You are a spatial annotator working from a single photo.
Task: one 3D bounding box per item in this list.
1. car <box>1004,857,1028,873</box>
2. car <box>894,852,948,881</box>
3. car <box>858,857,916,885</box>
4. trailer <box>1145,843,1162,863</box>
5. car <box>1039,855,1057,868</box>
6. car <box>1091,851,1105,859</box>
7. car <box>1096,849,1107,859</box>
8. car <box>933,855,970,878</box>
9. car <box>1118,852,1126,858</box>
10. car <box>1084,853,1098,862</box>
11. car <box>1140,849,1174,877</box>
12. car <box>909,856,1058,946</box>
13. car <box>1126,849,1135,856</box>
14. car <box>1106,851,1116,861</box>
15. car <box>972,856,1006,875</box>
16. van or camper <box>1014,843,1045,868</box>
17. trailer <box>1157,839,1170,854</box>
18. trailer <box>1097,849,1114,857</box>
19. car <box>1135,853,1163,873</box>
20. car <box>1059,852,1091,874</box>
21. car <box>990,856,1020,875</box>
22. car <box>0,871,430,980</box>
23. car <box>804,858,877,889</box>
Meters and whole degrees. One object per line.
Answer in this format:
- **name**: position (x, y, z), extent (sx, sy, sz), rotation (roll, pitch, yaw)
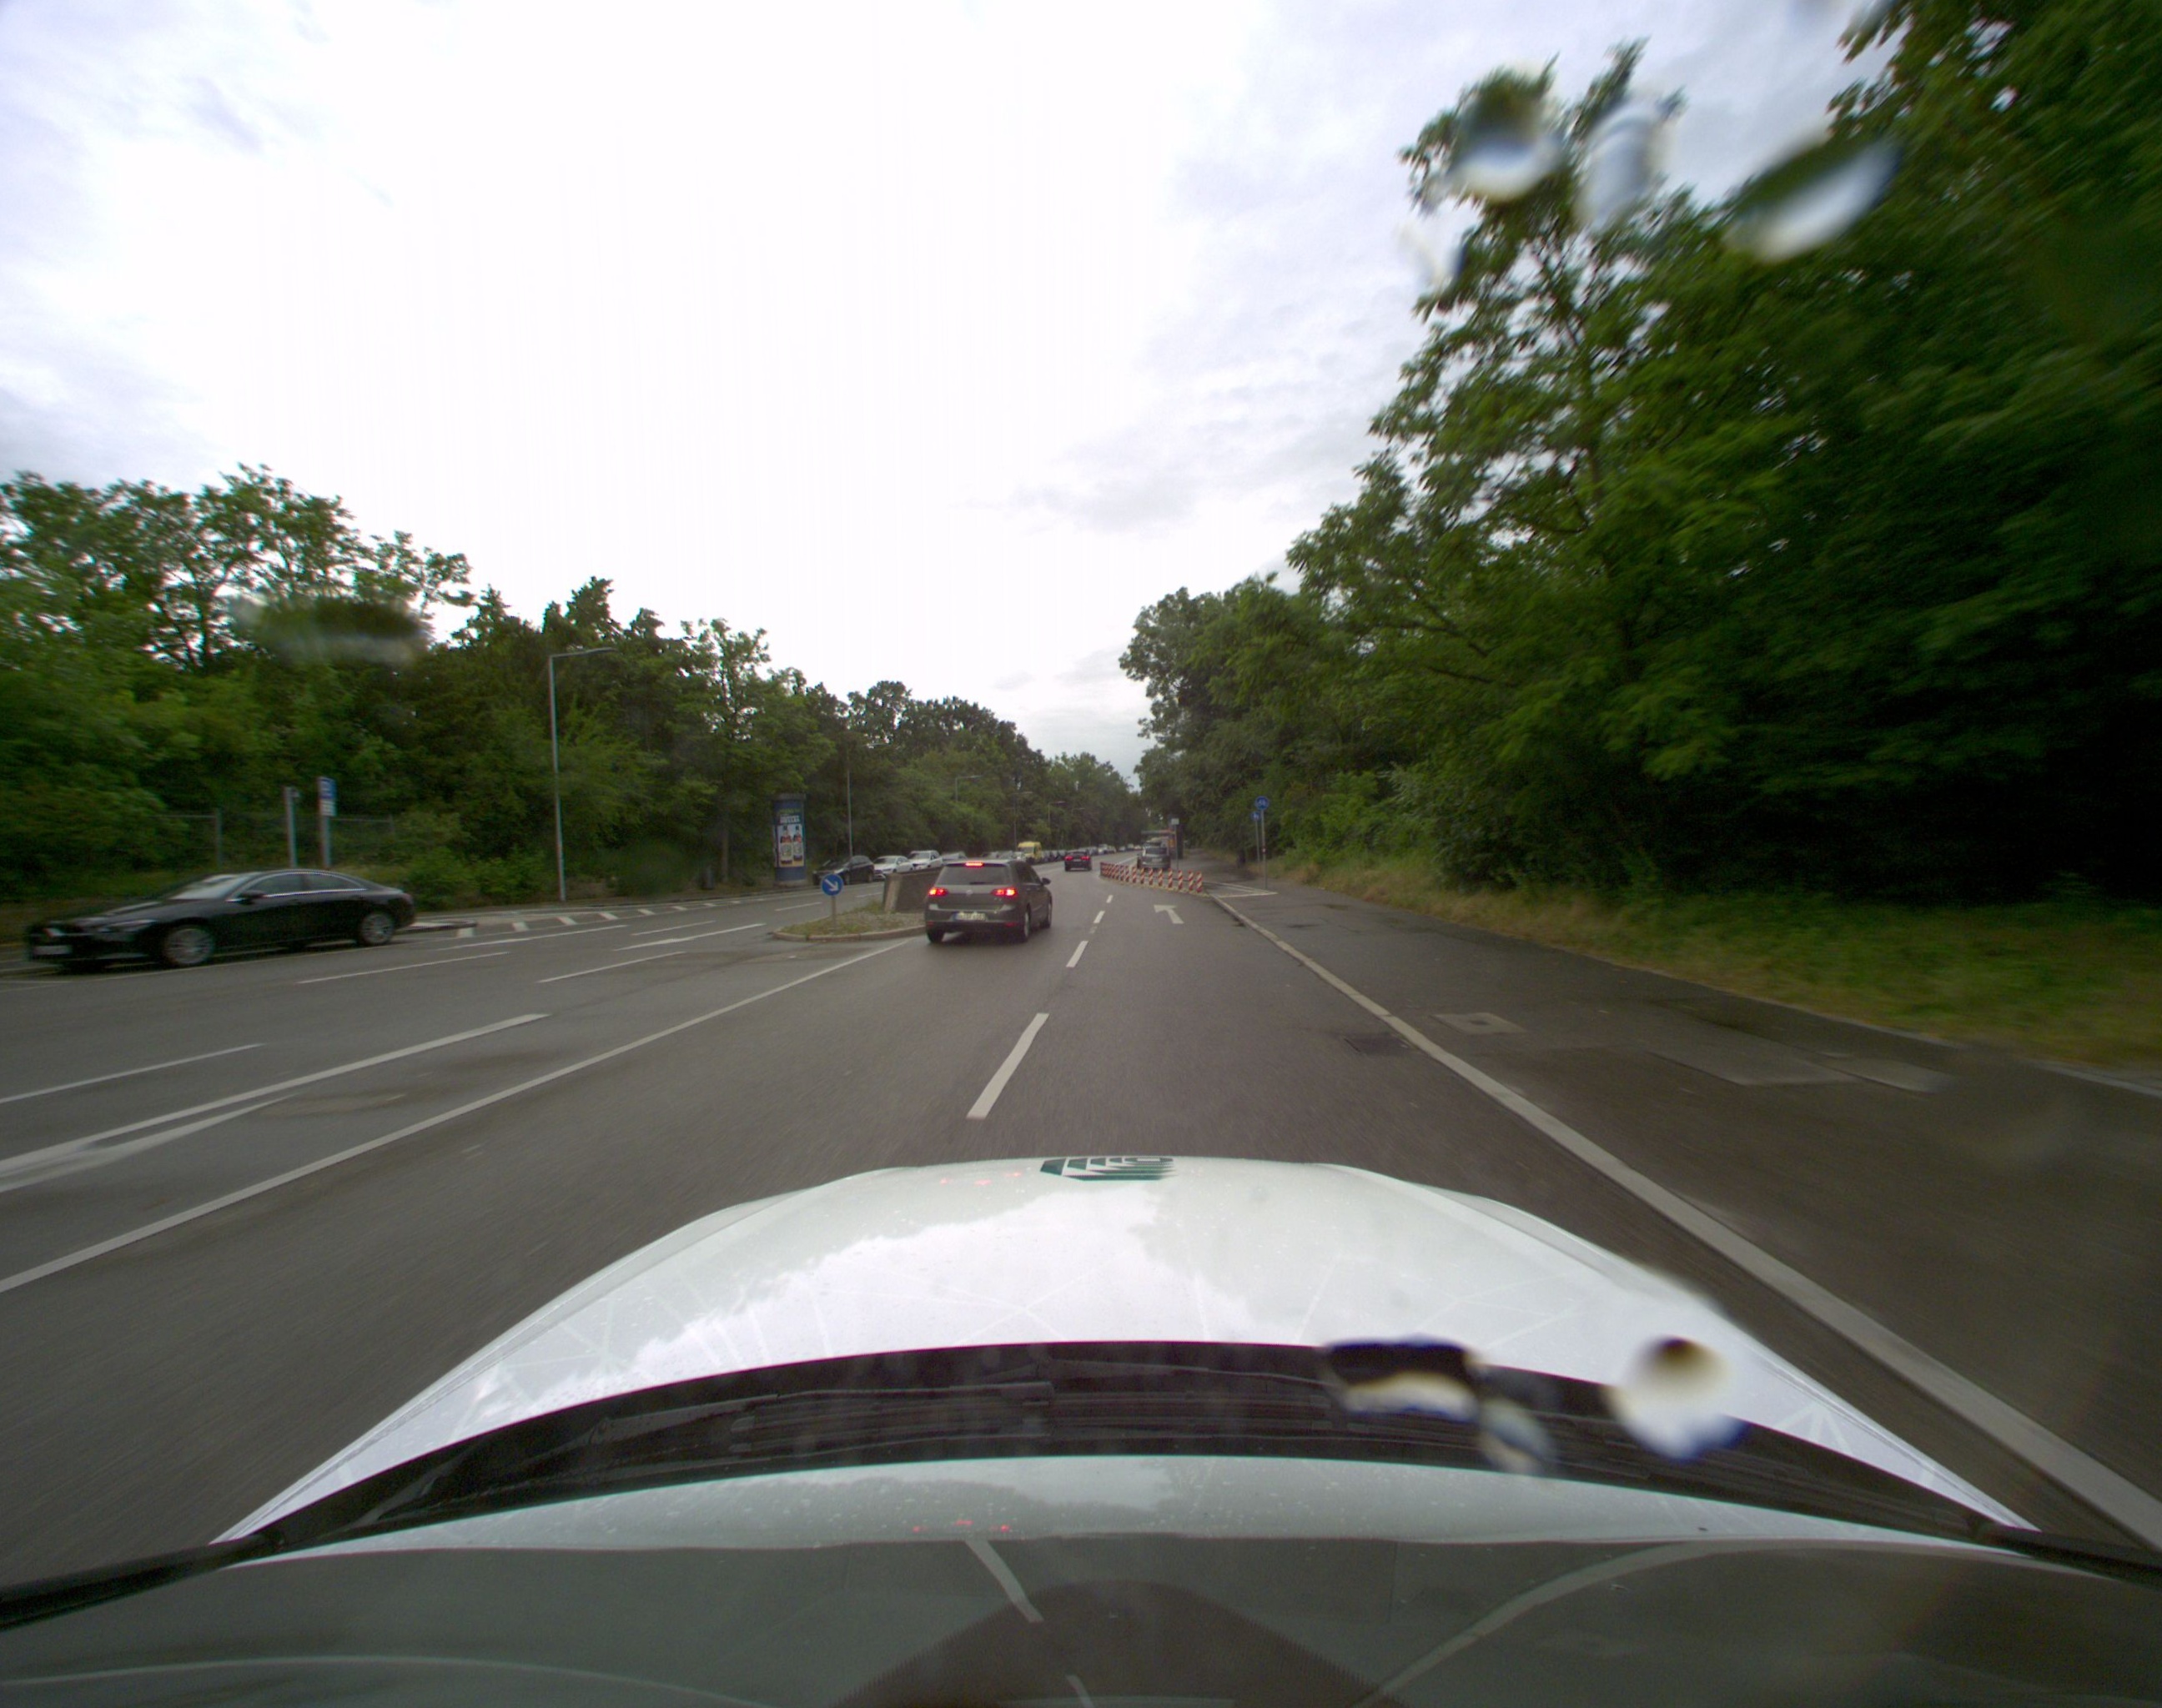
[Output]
- **car**: position (-6.617, 1.097, 83.518), extent (1.608, 1.448, 3.665), rotation (-2, 0, 8)
- **car**: position (-10.481, 0.811, 53.686), extent (1.983, 1.765, 4.969), rotation (-1, 0, 7)
- **car**: position (-11.289, 0.952, 47.836), extent (1.709, 1.460, 4.718), rotation (-1, 0, 7)
- **trailer**: position (8.741, -0.132, 98.152), extent (1.896, 2.247, 4.777), rotation (-1, 0, 7)
- **car**: position (-4.058, 0.939, 100.773), extent (1.593, 1.510, 3.146), rotation (-1, 0, 8)
- **car**: position (3.230, 0.165, 153.054), extent (1.982, 1.488, 4.478), rotation (-1, 0, 8)
- **car**: position (4.084, 0.021, 164.056), extent (1.931, 2.013, 4.746), rotation (-1, 0, 5)
- **car**: position (-9.708, 0.917, 61.473), extent (1.723, 1.649, 4.576), rotation (-1, 0, 4)
- **car**: position (10.558, 0.196, 208.656), extent (1.663, 1.513, 3.637), rotation (-1, 0, 7)
- **car**: position (1.779, 0.625, 143.627), extent (1.869, 1.561, 4.478), rotation (-1, 0, 8)
- **car**: position (4.553, 0.526, 49.391), extent (1.814, 1.615, 4.255), rotation (-1, 0, 3)
- **car**: position (-1.649, 0.794, 15.351), extent (1.862, 1.441, 4.303), rotation (0, -1, 6)
- **car**: position (14.252, -0.361, 233.538), extent (2.146, 2.013, 5.043), rotation (-2, 0, 8)
- **car**: position (6.430, 0.473, 174.433), extent (1.931, 2.013, 4.746), rotation (-1, 0, 5)
- **car**: position (-8.214, 1.011, 72.919), extent (1.908, 1.617, 4.499), rotation (-2, 0, 8)
- **van or camper**: position (-5.638, 0.124, 90.014), extent (2.131, 2.627, 5.695), rotation (-2, 0, 8)
- **trailer**: position (14.580, -1.292, 144.448), extent (2.122, 2.560, 4.304), rotation (-1, 0, 5)
- **trailer**: position (5.044, -0.244, 168.791), extent (1.609, 1.628, 3.696), rotation (-2, 0, 38)
- **car**: position (4.917, 0.652, 59.325), extent (1.845, 1.399, 4.388), rotation (0, 0, 3)
- **car**: position (-0.357, 0.611, 56.364), extent (1.872, 1.466, 4.005), rotation (1, 0, 4)
- **car**: position (-7.300, 1.090, 78.559), extent (1.984, 1.700, 4.623), rotation (-1, 0, 6)
- **car**: position (-13.684, 1.006, 13.301), extent (1.896, 1.414, 4.791), rotation (0, -1, 6)
- **car**: position (-12.301, 0.988, 42.010), extent (1.738, 1.445, 4.599), rotation (-1, 0, 9)
